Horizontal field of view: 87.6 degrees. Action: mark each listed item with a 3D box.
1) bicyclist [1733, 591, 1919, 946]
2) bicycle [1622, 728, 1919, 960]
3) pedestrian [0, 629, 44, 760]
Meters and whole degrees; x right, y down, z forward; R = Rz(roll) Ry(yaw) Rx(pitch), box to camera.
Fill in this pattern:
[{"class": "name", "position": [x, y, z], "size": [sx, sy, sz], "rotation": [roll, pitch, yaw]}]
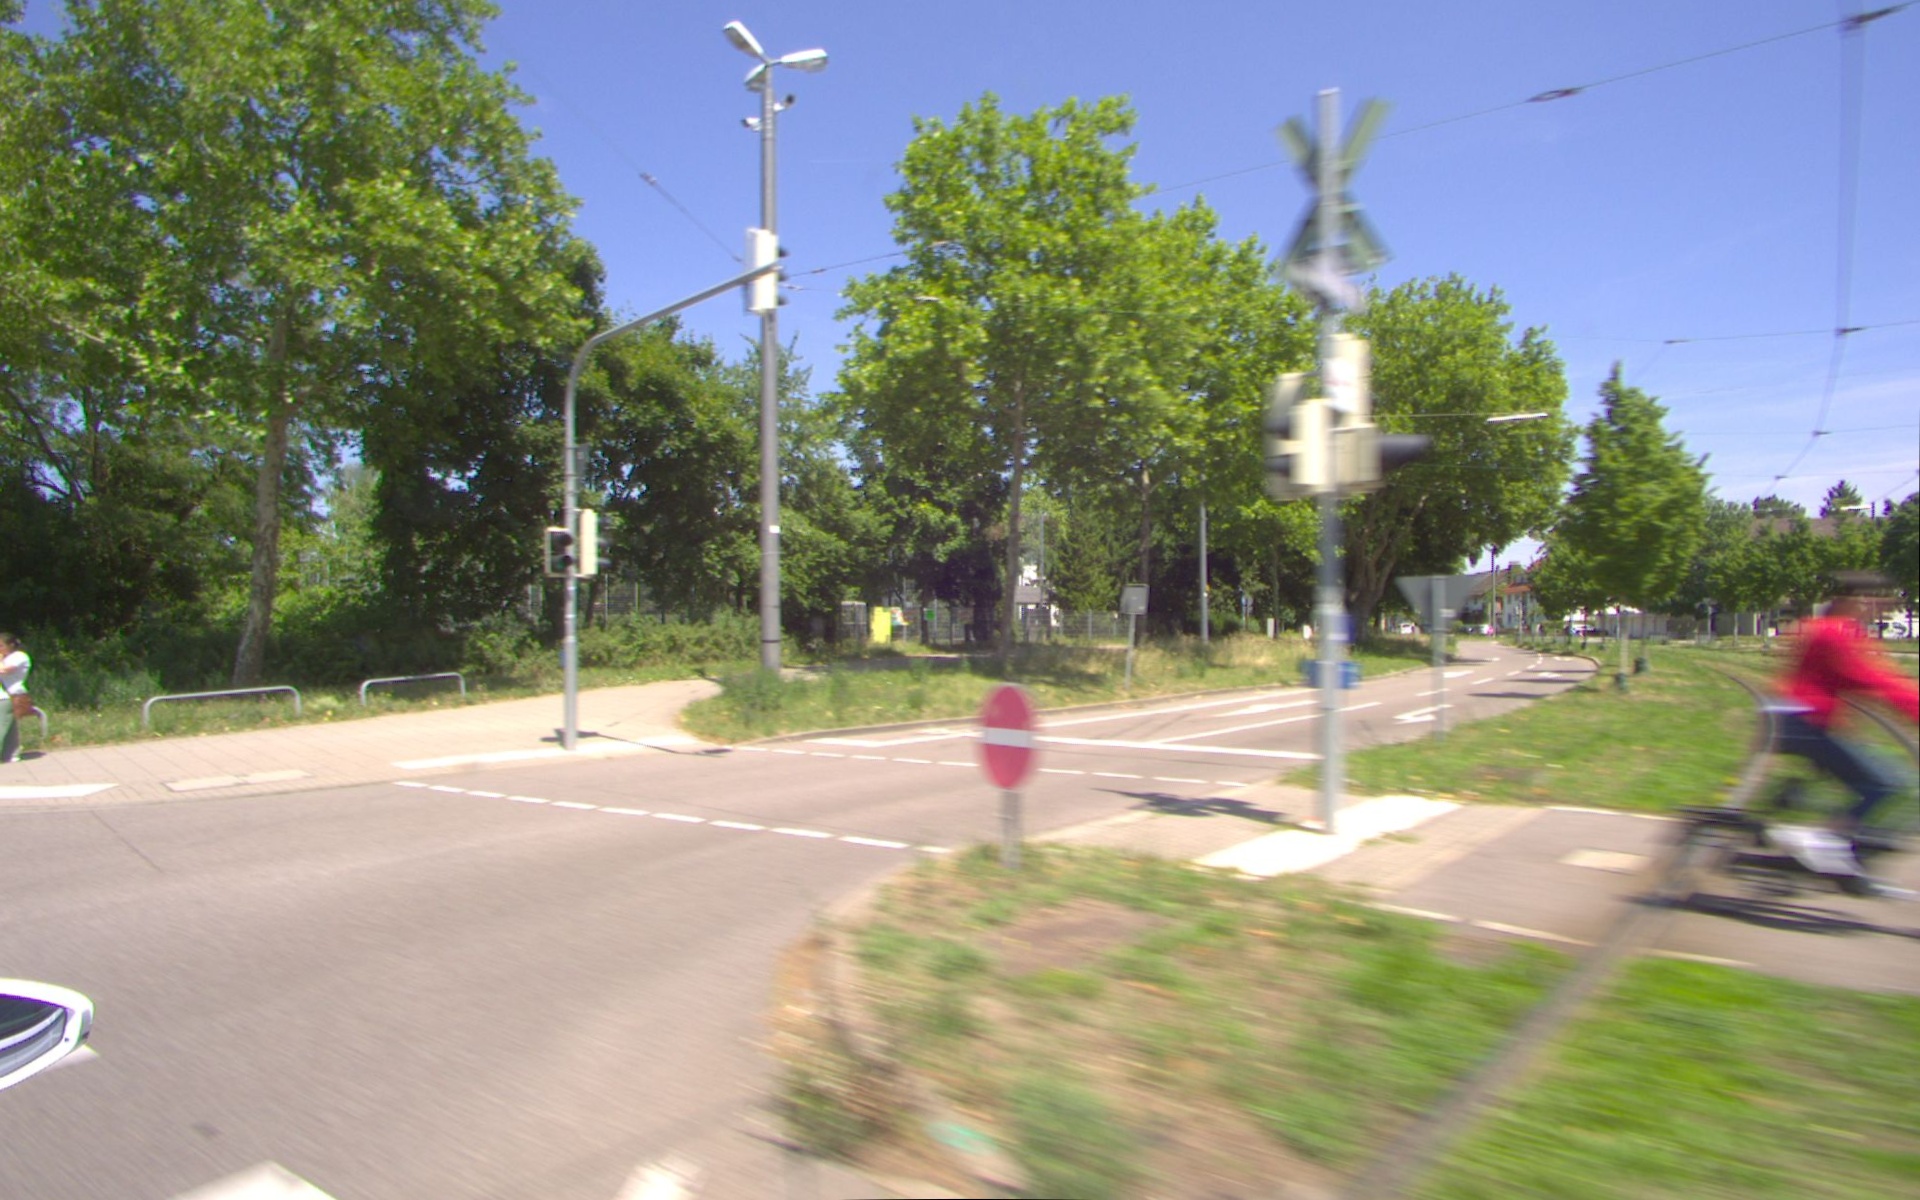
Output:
[{"class": "bicyclist", "position": [4.212, 0.760, 4.888], "size": [0.666, 1.576, 0.575], "rotation": [0, -1, 40]}, {"class": "bicycle", "position": [4.285, 1.152, 4.811], "size": [1.791, 0.907, 0.584], "rotation": [-1, -1, 41]}, {"class": "pedestrian", "position": [-11.219, 1.092, 11.810], "size": [0.623, 1.503, 0.550], "rotation": [0, -1, 43]}]
